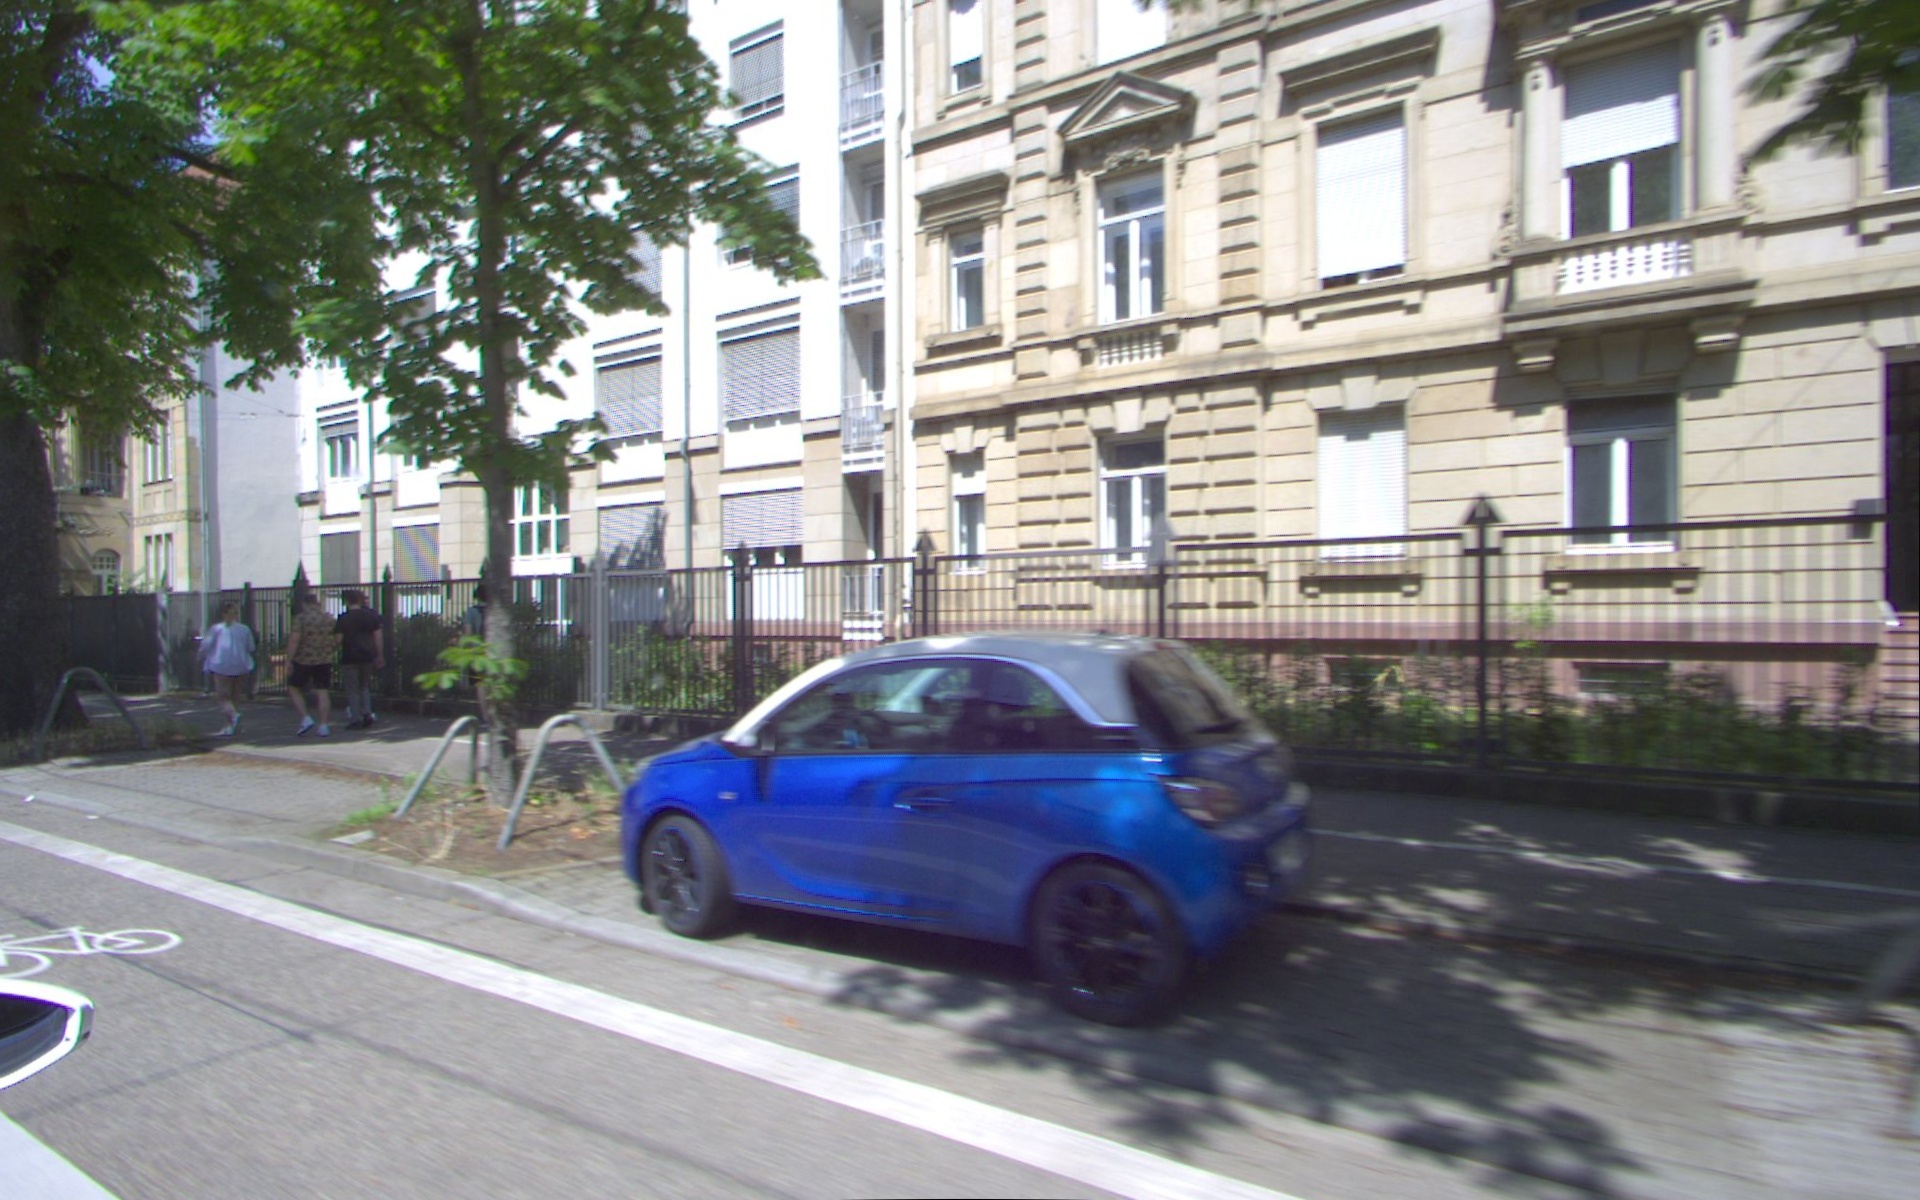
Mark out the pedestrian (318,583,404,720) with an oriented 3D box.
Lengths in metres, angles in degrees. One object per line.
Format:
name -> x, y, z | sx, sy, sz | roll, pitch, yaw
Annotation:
pedestrian -> -8.370, 0.703, 13.989 | 0.963, 1.835, 0.659 | 0, 0, 32

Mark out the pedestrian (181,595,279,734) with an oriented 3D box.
pedestrian -> -9.243, 0.784, 12.683 | 0.961, 1.673, 0.763 | 0, 0, 37

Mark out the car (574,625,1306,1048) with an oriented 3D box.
car -> -0.164, 0.876, 5.163 | 3.423, 1.472, 1.688 | -1, 0, 31

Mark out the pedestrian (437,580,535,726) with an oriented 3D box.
pedestrian -> -6.178, 0.672, 13.048 | 1.068, 1.821, 0.683 | 0, 0, 32

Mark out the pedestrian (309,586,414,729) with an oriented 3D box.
pedestrian -> -7.801, 0.725, 13.055 | 1.037, 1.785, 0.786 | 0, 0, 32

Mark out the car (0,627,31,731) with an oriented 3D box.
car -> -15.382, 1.133, 14.670 | 3.666, 1.462, 1.674 | -1, 0, 31

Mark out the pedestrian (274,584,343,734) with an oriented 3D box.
pedestrian -> -8.204, 0.714, 12.628 | 0.697, 1.800, 0.941 | 0, 0, -33
